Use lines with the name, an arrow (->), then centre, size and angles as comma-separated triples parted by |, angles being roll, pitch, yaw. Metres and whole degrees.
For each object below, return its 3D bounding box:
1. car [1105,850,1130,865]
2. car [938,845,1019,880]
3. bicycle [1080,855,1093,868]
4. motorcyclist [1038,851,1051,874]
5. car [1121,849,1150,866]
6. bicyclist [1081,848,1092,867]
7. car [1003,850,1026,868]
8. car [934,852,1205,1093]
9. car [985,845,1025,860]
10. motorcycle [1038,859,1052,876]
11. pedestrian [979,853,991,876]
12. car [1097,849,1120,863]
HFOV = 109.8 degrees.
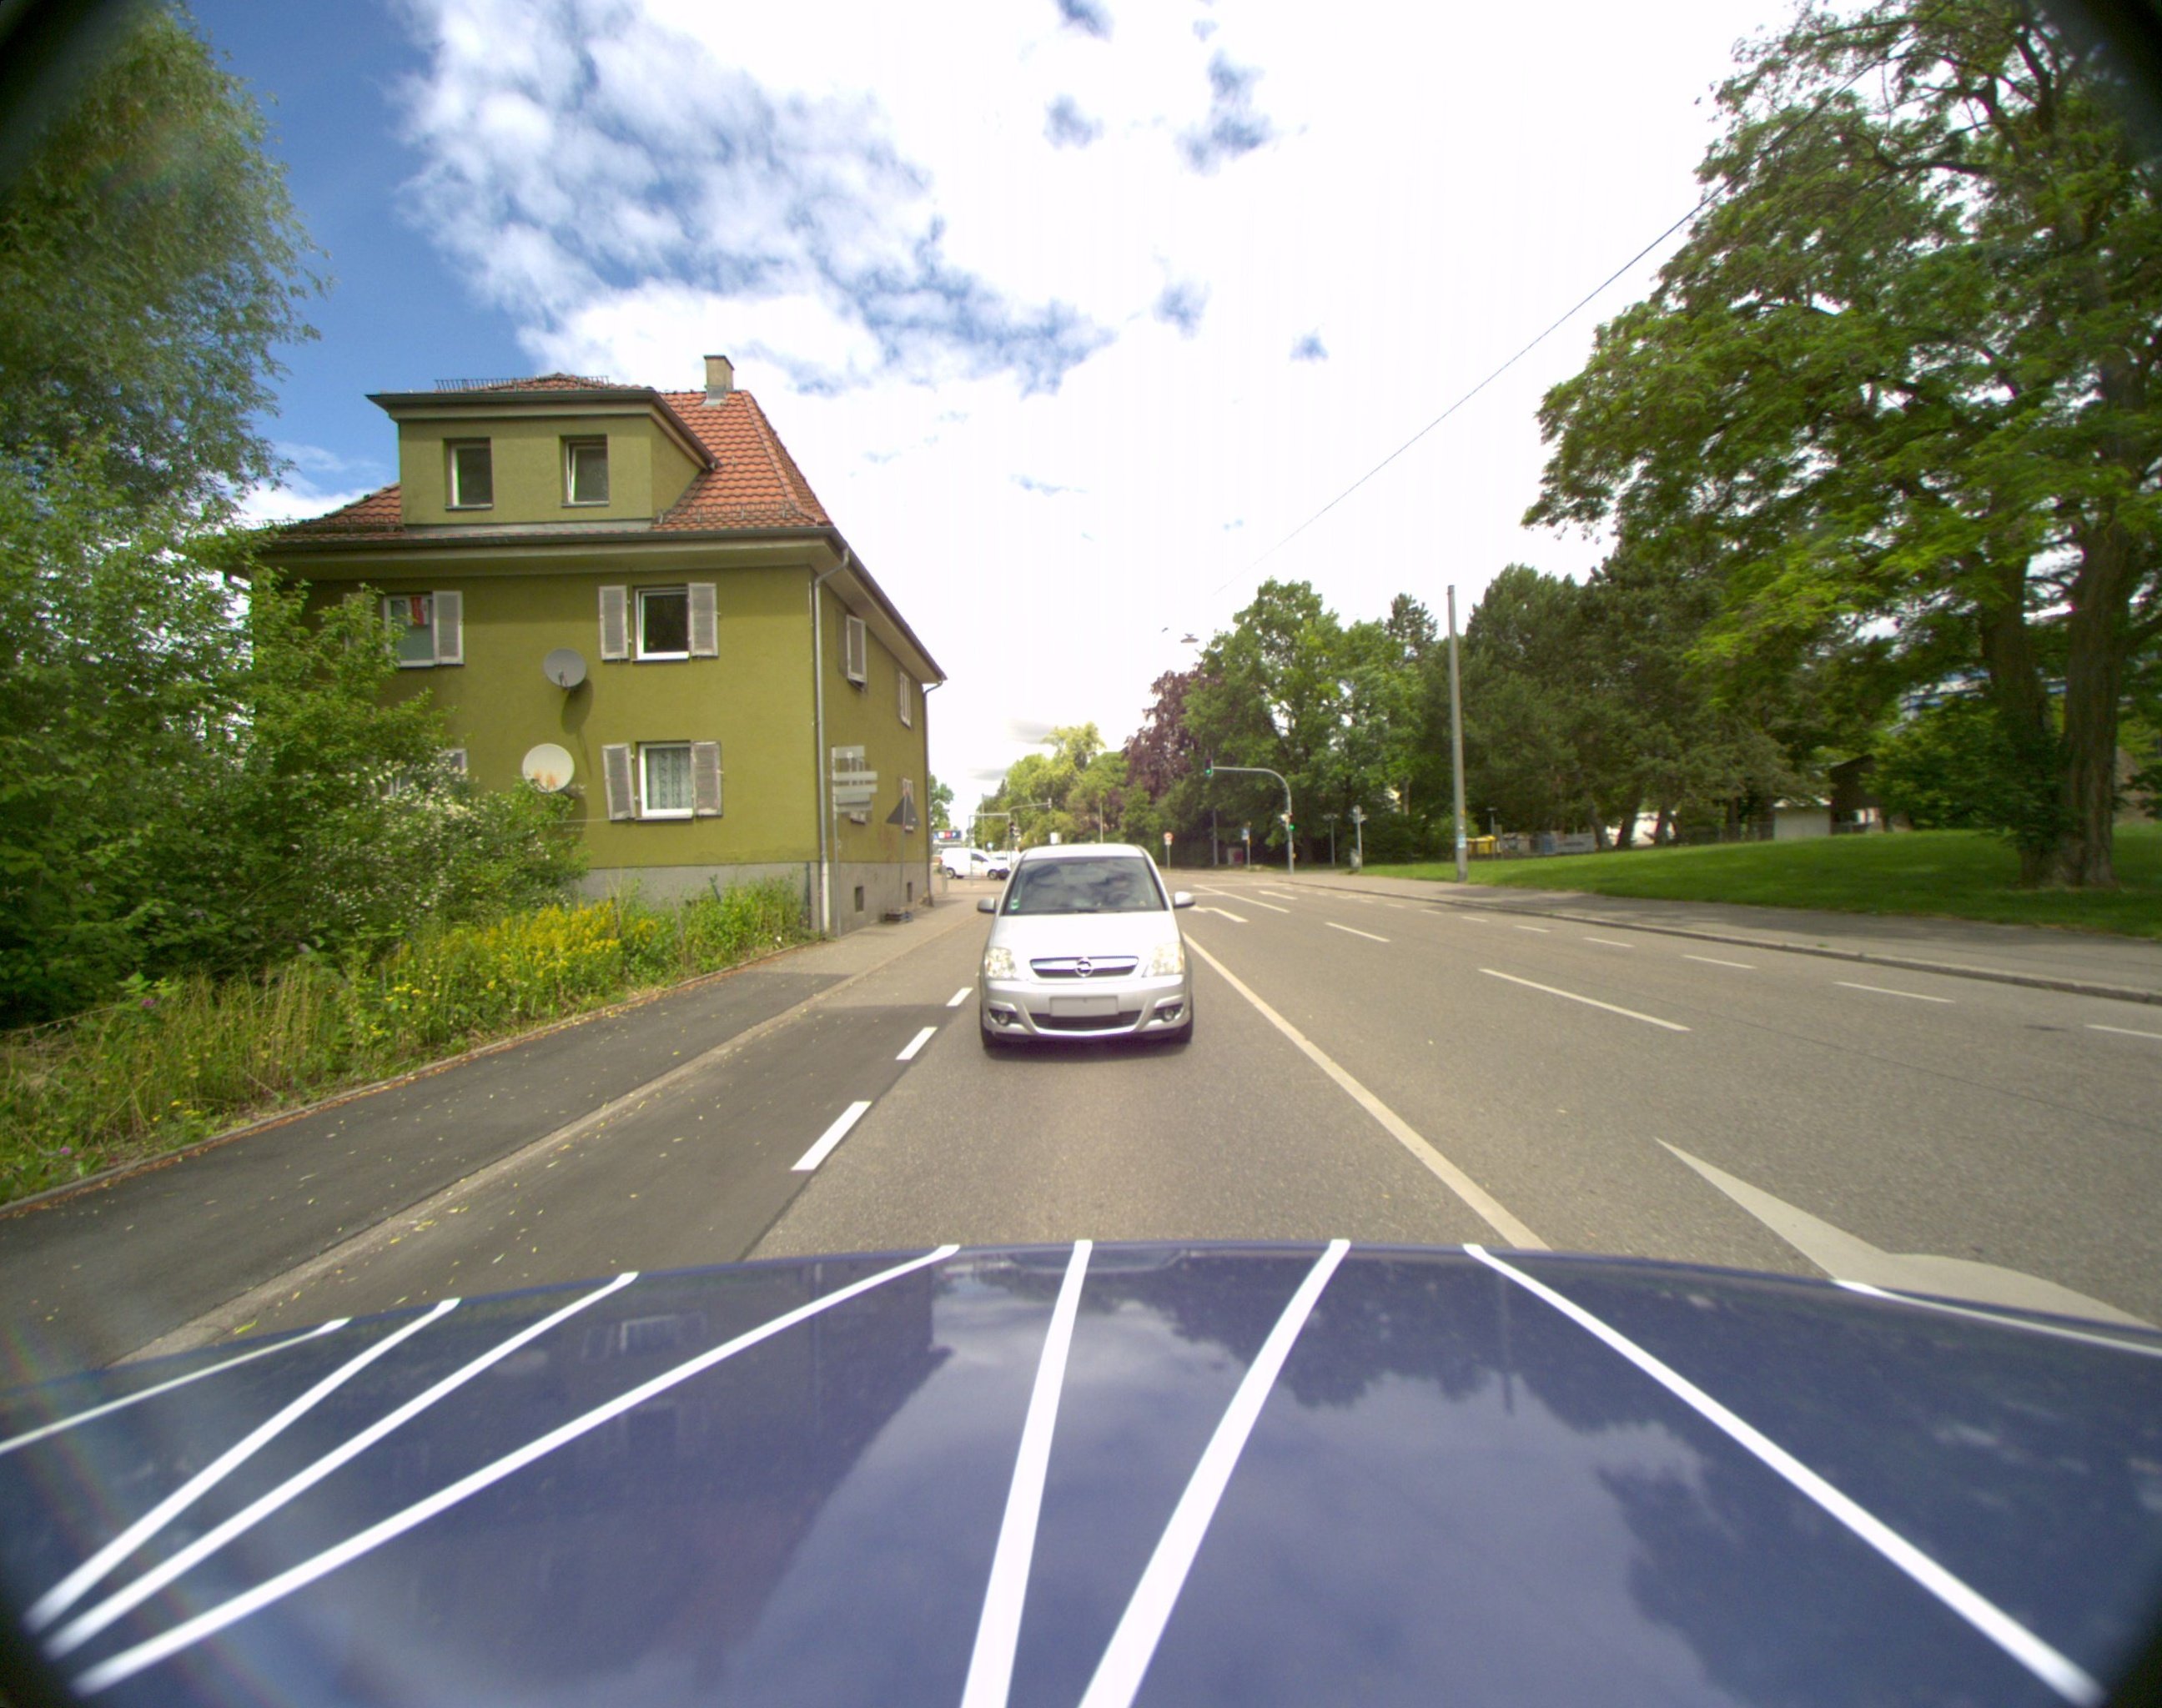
car -> 3.734, 0.320, 78.287 | 1.900, 1.501, 3.997 | -1, 0, -7
car -> -6.087, 0.469, 45.417 | 4.364, 1.983, 2.001 | -1, 1, 10
bicycle -> 0.478, 0.664, 67.448 | 0.814, 1.101, 1.799 | -4, 1, -7
motorcyclist -> -2.412, 0.574, 50.905 | 0.837, 1.547, 0.650 | 0, 1, -1
car -> 4.882, 0.280, 69.147 | 1.900, 1.501, 3.997 | -1, 0, -7
bicyclist -> 0.468, 0.331, 67.385 | 0.807, 1.599, 0.771 | -4, 1, -7
car -> -6.187, 0.482, 70.653 | 1.799, 1.502, 3.998 | -1, 2, 0
car -> -0.029, 0.812, 7.207 | 1.780, 1.519, 4.000 | -3, 1, 1
car -> -9.181, -0.183, 91.597 | 4.490, 1.787, 1.803 | 0, 1, 30
motorcycle -> -2.400, 0.911, 50.821 | 0.837, 1.101, 1.800 | 0, 1, 0
pedestrian -> -6.486, 0.700, 51.213 | 0.729, 1.544, 1.056 | -2, 1, -10
car -> 2.957, 0.246, 83.502 | 1.900, 1.501, 3.997 | -1, 0, -7
